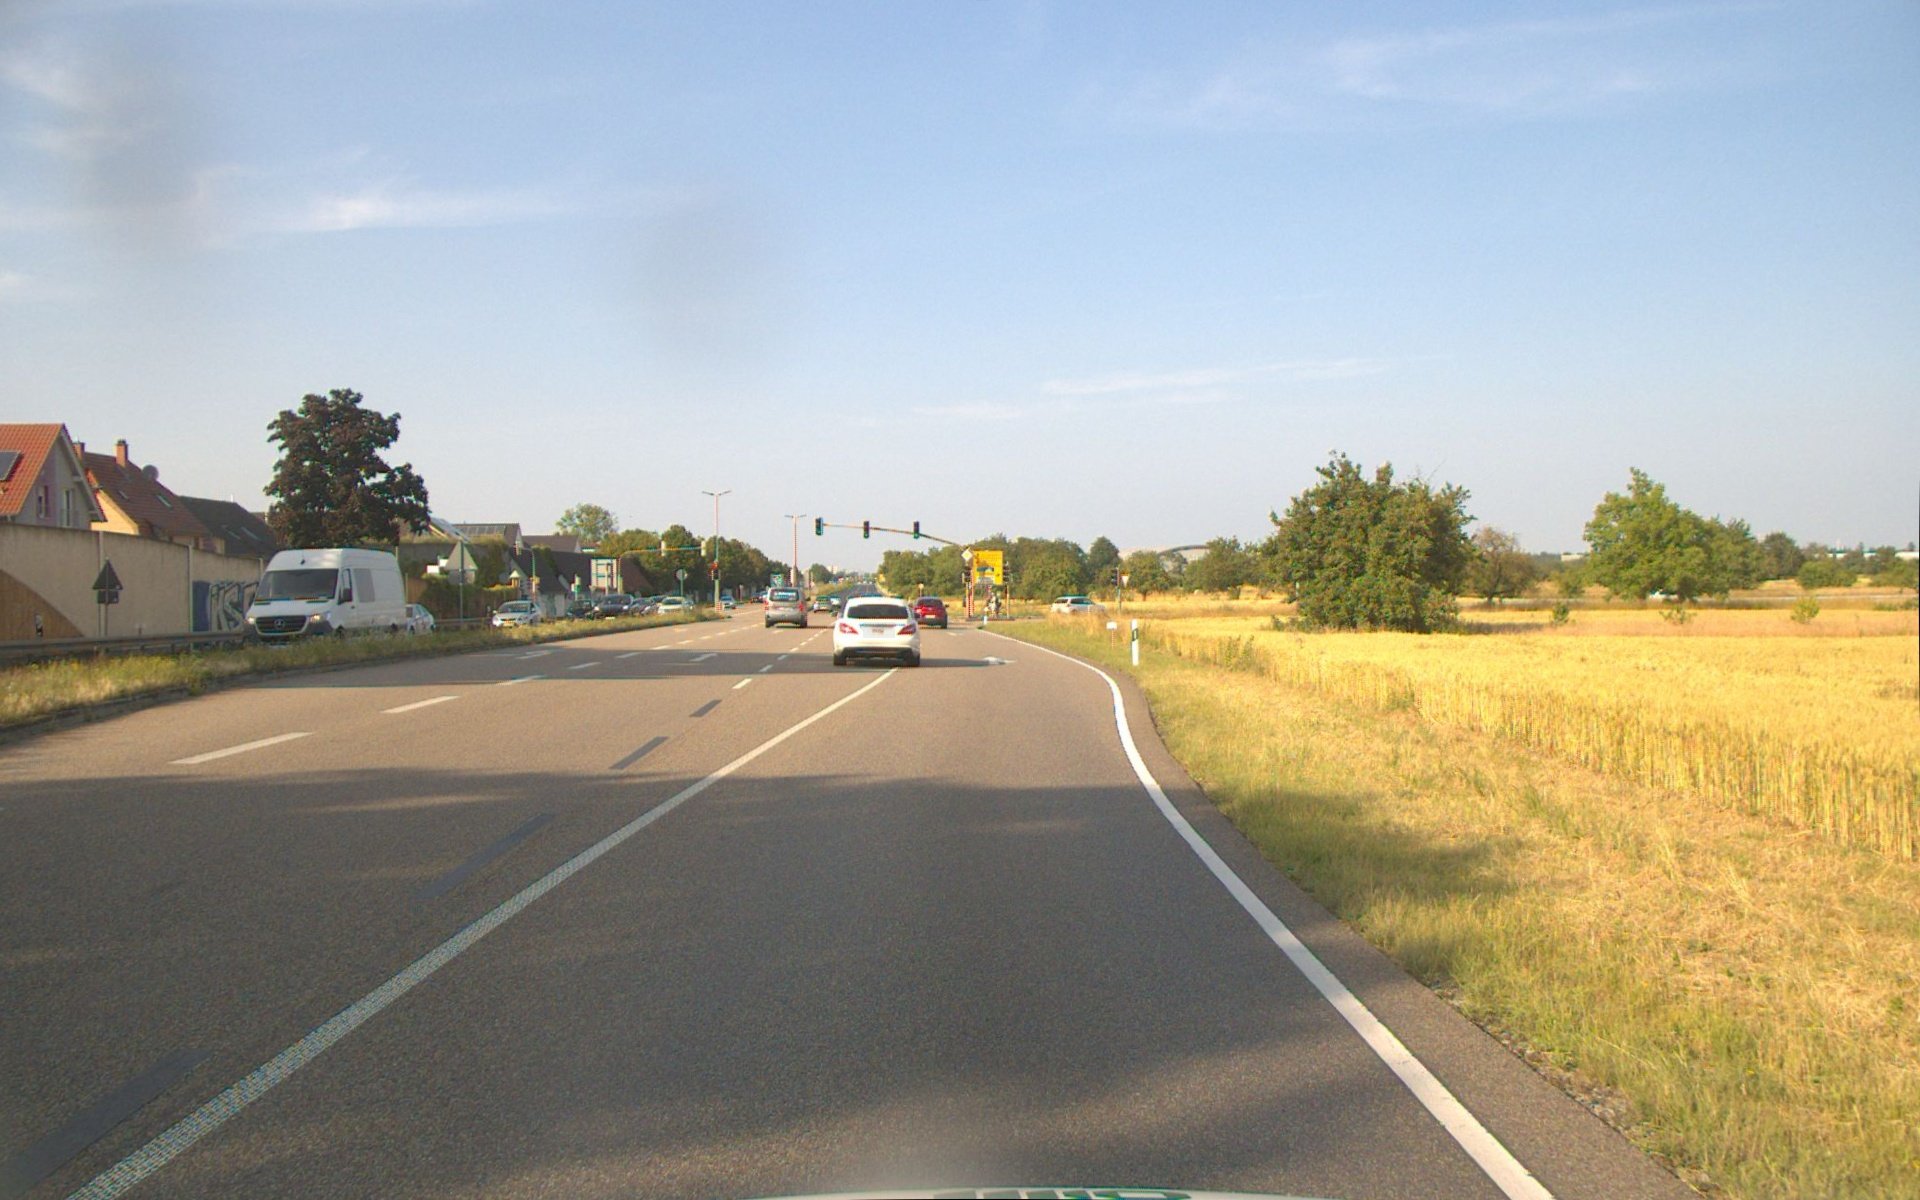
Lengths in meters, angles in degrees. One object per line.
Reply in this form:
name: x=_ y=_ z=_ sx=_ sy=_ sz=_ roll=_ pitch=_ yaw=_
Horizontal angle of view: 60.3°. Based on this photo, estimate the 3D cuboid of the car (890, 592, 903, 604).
car: x=-7.074 y=-0.218 z=184.489 sx=1.410 sy=1.306 sz=2.913 roll=1 pitch=0 yaw=-2

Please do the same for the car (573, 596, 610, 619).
car: x=-21.599 y=0.436 z=97.080 sx=1.651 sy=1.308 sz=3.145 roll=1 pitch=0 yaw=-4

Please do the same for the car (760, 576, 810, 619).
car: x=-8.230 y=-0.142 z=78.093 sx=1.984 sy=1.924 sz=4.956 roll=1 pitch=1 yaw=-2

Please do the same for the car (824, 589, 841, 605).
car: x=-14.083 y=-0.378 z=183.226 sx=1.742 sy=1.694 sz=3.658 roll=1 pitch=0 yaw=-6

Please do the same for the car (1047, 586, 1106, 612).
car: x=7.715 y=-0.046 z=109.015 sx=1.828 sy=1.626 sz=3.975 roll=1 pitch=1 yaw=42

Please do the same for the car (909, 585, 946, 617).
car: x=-1.605 y=0.030 z=81.190 sx=1.719 sy=1.543 sz=3.998 roll=-1 pitch=1 yaw=-2

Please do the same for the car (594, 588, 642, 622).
car: x=-17.557 y=0.239 z=85.147 sx=1.696 sy=1.653 sz=4.919 roll=1 pitch=0 yaw=-3

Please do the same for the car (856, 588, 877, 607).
car: x=-8.863 y=-0.246 z=156.666 sx=1.802 sy=1.713 sz=4.000 roll=1 pitch=0 yaw=-1

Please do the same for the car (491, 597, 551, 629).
car: x=-20.412 y=0.585 z=77.072 sx=1.744 sy=1.346 sz=4.603 roll=1 pitch=1 yaw=-2

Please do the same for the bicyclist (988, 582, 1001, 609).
bicyclist: x=2.330 y=-0.311 z=111.794 sx=0.831 sy=1.786 sz=0.798 roll=1 pitch=0 yaw=-2

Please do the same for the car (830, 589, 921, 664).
car: x=-1.843 y=0.530 z=36.000 sx=1.857 sy=1.535 sz=3.998 roll=0 pitch=1 yaw=-3

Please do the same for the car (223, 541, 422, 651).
car: x=-14.944 y=-0.120 z=39.321 sx=2.301 sy=2.343 sz=7.186 roll=1 pitch=1 yaw=-3

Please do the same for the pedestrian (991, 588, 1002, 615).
pedestrian: x=2.451 y=0.104 z=110.499 sx=0.696 sy=1.782 sz=0.862 roll=1 pitch=0 yaw=-1

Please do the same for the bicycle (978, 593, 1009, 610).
bicycle: x=2.237 y=0.103 z=111.811 sx=2.053 sy=1.108 sz=0.808 roll=1 pitch=0 yaw=0

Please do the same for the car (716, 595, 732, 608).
car: x=-27.655 y=0.182 z=193.749 sx=1.749 sy=1.462 sz=4.351 roll=1 pitch=1 yaw=-6

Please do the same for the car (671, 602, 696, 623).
car: x=-24.811 y=1.145 z=148.531 sx=1.741 sy=1.781 sz=3.997 roll=1 pitch=0 yaw=-4

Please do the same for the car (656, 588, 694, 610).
car: x=-18.520 y=-0.083 z=107.619 sx=1.836 sy=1.344 sz=4.710 roll=1 pitch=1 yaw=-3

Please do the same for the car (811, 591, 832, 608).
car: x=-12.374 y=-0.052 z=148.231 sx=1.683 sy=1.518 sz=3.583 roll=1 pitch=0 yaw=-3
